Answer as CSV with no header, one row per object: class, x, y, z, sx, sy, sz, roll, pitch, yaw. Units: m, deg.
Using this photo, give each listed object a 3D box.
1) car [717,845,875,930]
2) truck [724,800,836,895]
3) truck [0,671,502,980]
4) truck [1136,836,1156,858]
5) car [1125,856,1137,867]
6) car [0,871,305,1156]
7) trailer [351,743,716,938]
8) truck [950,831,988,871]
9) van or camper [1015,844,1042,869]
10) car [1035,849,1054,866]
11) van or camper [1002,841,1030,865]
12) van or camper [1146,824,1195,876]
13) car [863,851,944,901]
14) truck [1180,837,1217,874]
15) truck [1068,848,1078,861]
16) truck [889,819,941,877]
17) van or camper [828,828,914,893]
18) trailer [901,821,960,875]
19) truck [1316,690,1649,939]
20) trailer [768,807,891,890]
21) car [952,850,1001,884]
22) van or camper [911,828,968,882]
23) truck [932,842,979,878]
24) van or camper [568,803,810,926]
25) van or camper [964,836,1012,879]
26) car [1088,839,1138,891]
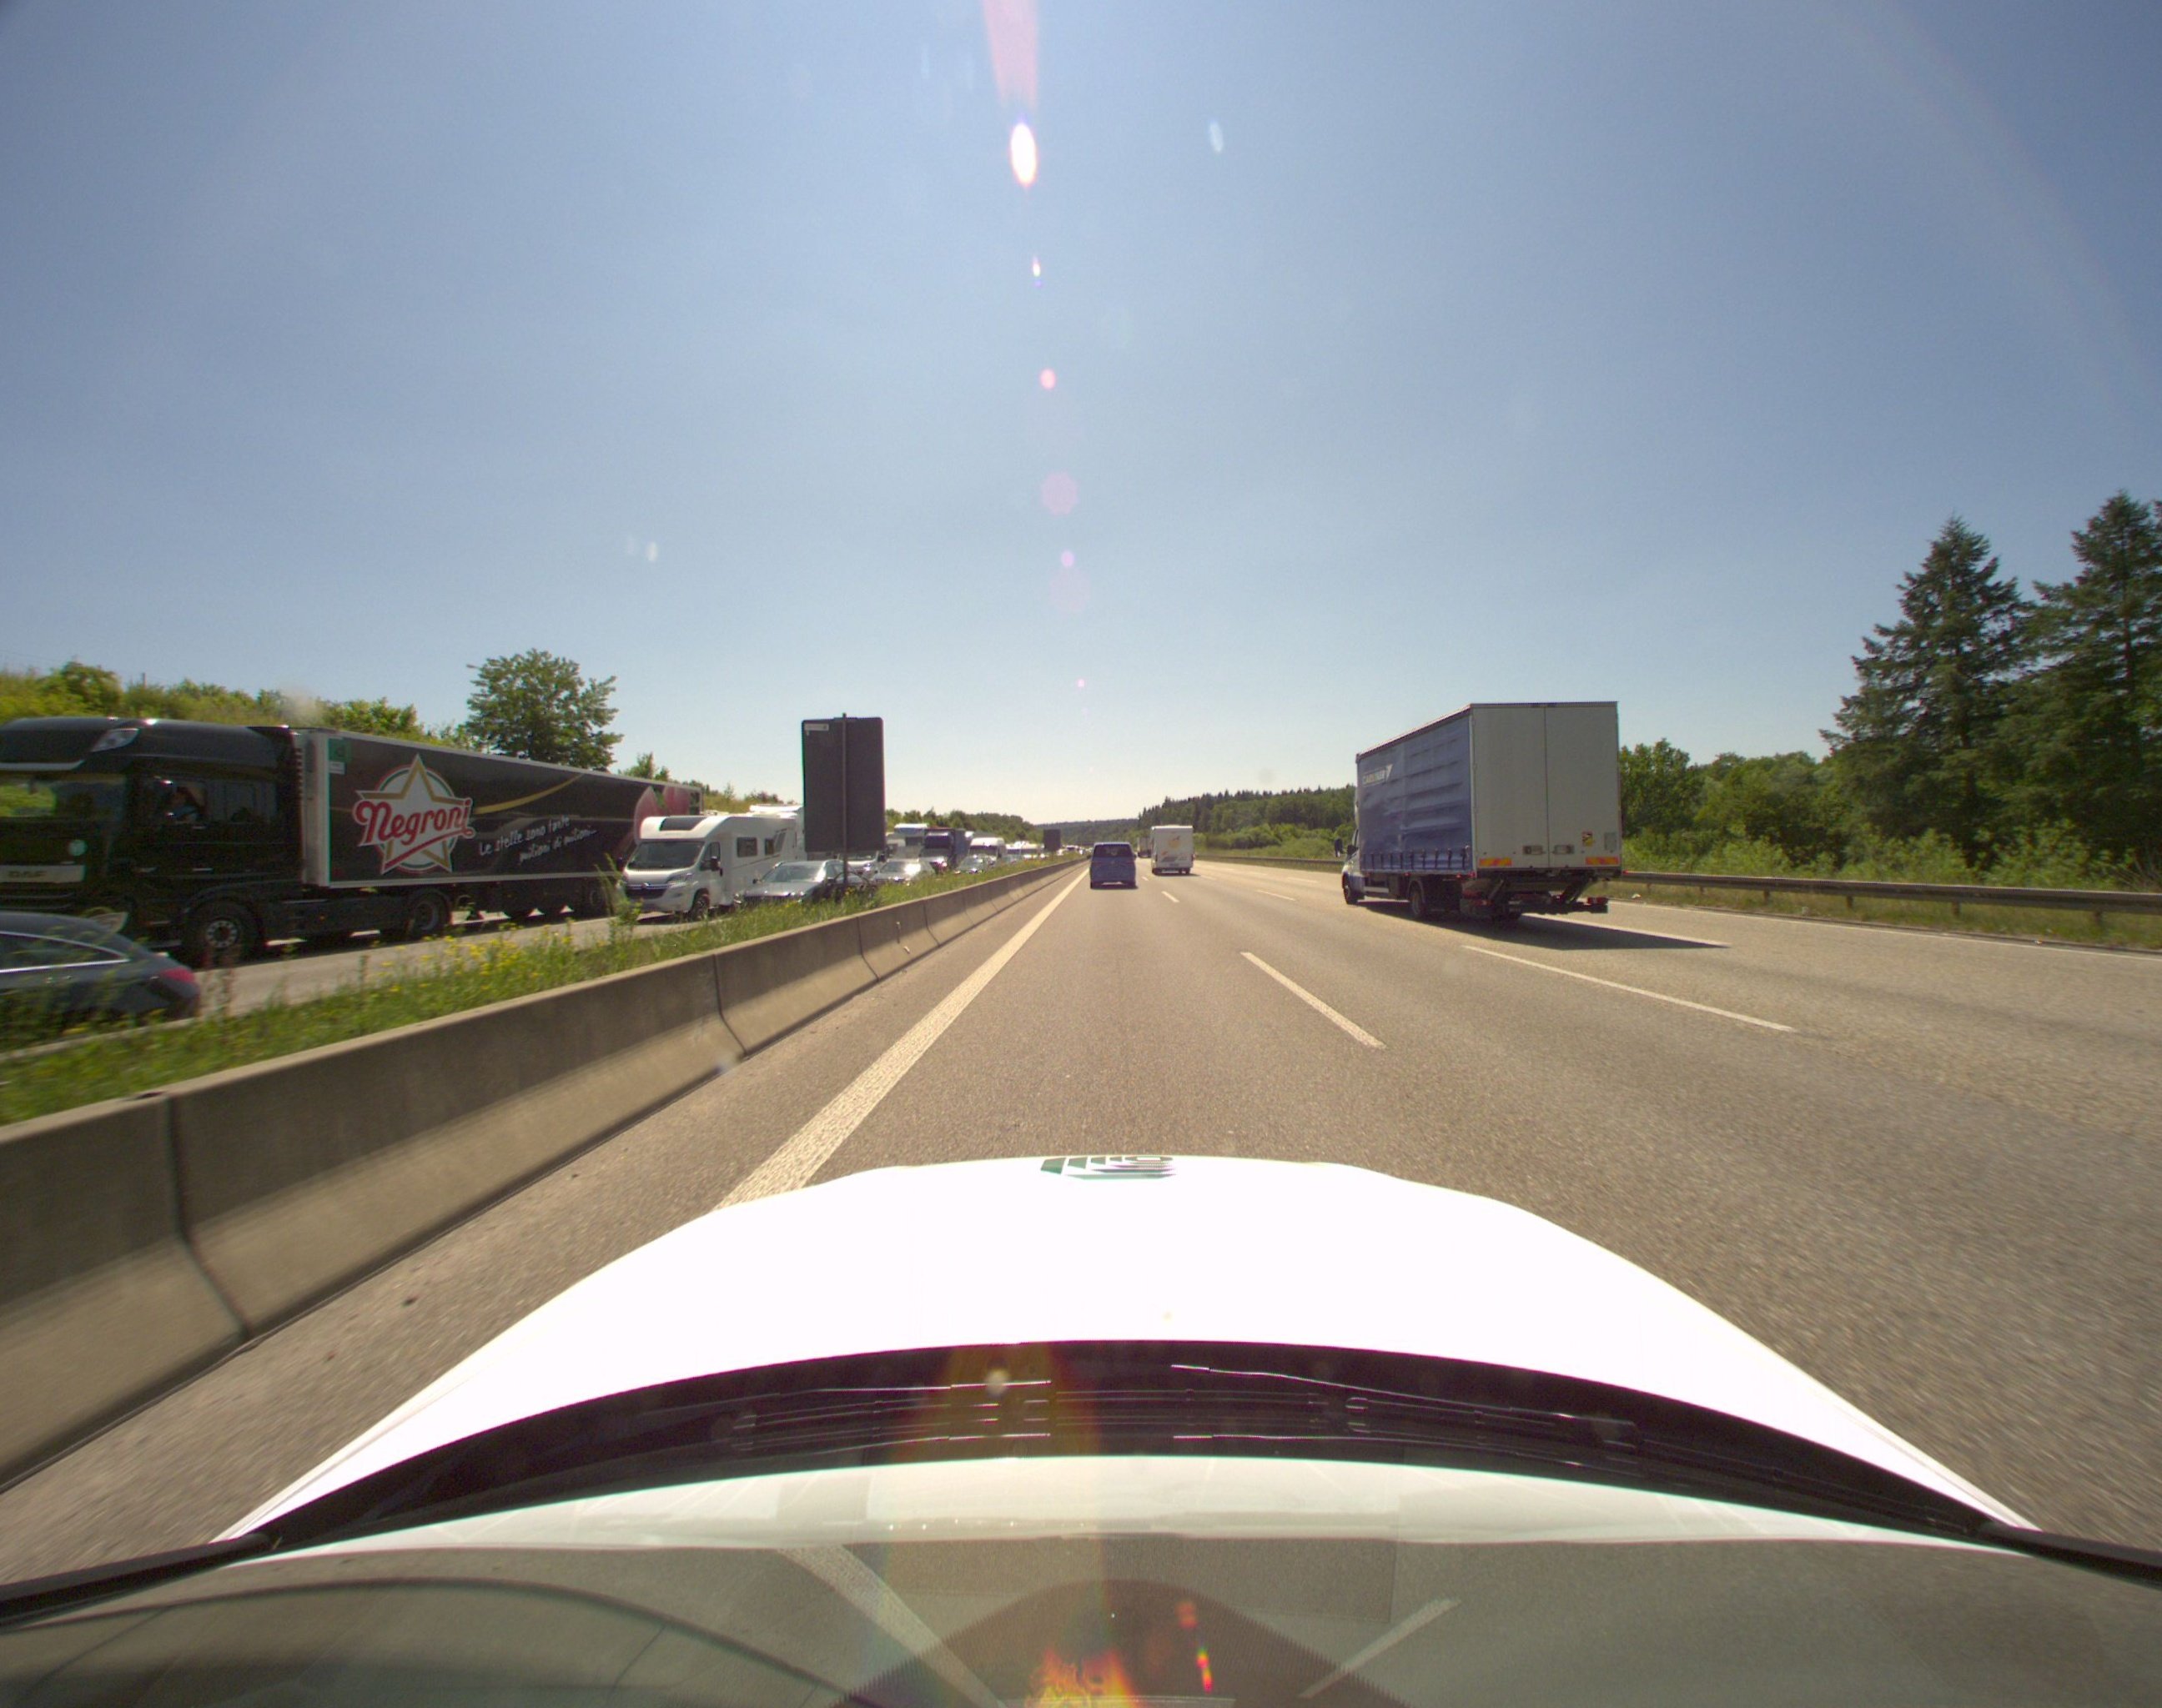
car,-6.792,0.723,20.175,1.805,1.809,5.545,0,0,2
truck,-13.939,-0.262,38.318,2.790,4.128,6.144,0,0,2
truck,-14.694,-0.369,14.999,2.771,4.305,7.032,-1,0,2
truck,12.434,-1.235,156.554,3.474,4.170,8.645,0,0,2
car,8.139,1.229,133.141,1.811,1.794,3.896,0,0,2
car,-7.228,0.942,4.041,1.805,1.634,5.032,0,0,2
trailer,-14.372,-0.274,23.176,2.779,4.240,10.797,0,0,2
truck,-12.172,-0.298,89.483,2.564,4.078,9.698,0,0,2
van or camper,-5.332,0.274,84.080,2.185,2.506,6.060,-1,0,1
car,-4.377,0.403,98.040,1.986,2.013,4.002,-1,0,2
van or camper,-8.360,-0.066,105.758,2.534,2.937,7.834,-1,0,3
van or camper,5.609,-0.306,51.935,2.593,3.078,7.186,0,1,2
car,-6.574,0.783,30.732,1.805,1.730,4.975,0,0,2
truck,12.330,0.071,86.427,2.916,3.575,8.531,-2,1,2
truck,-2.498,0.063,250.588,2.608,3.890,7.405,-2,0,2
truck,-13.153,-0.442,65.083,2.580,4.325,7.294,0,0,1
van or camper,-10.185,0.316,40.182,2.142,2.923,7.227,0,0,2
trailer,-12.995,-0.460,71.536,2.602,4.310,12.004,0,0,1
truck,8.076,-0.634,18.412,2.774,4.128,9.739,0,0,0
trailer,-13.696,-0.241,45.869,2.770,4.034,12.256,0,0,2
car,-5.516,0.661,43.634,1.805,1.730,4.937,0,0,2
van or camper,-9.475,0.087,55.386,2.304,3.390,7.682,-1,0,1
truck,-9.349,0.438,61.141,2.226,2.505,6.864,-1,0,1
van or camper,-10.767,0.279,23.617,2.831,2.948,8.116,0,0,2
van or camper,-5.916,0.217,52.690,2.185,2.541,6.418,-1,0,1
car,1.342,0.424,34.453,1.902,2.013,4.001,-2,0,1
